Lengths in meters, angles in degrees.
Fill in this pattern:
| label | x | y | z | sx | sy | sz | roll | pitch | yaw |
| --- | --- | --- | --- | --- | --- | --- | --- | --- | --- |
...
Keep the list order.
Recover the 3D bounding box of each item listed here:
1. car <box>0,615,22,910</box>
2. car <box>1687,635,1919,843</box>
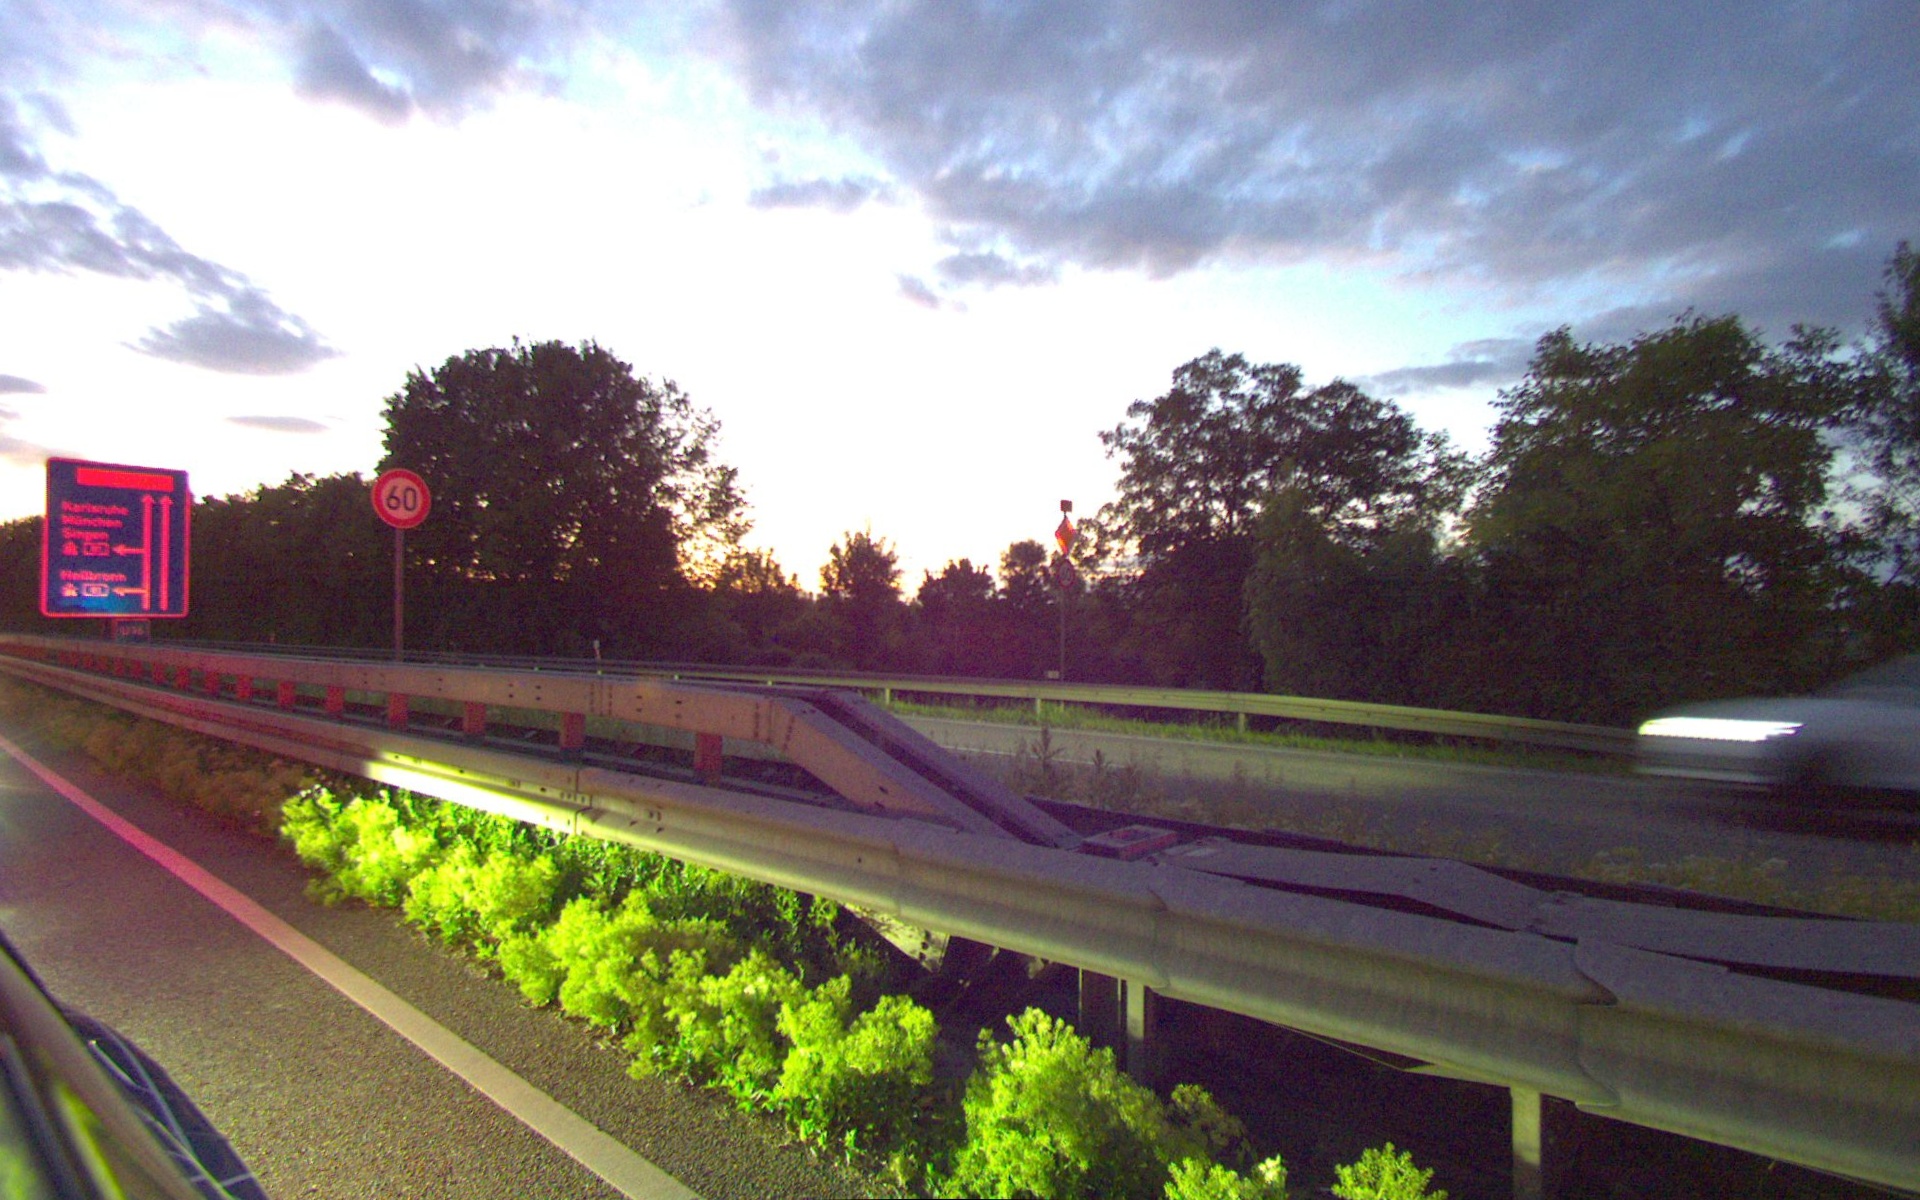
| label | x | y | z | sx | sy | sz | roll | pitch | yaw |
| --- | --- | --- | --- | --- | --- | --- | --- | --- | --- |
| car | -7.136 | 0.867 | 5.947 | 4.511 | 1.492 | 1.877 | -1 | -1 | 40 |
| car | 8.371 | 1.053 | 7.829 | 4.295 | 1.530 | 1.973 | -2 | -2 | 41 |
